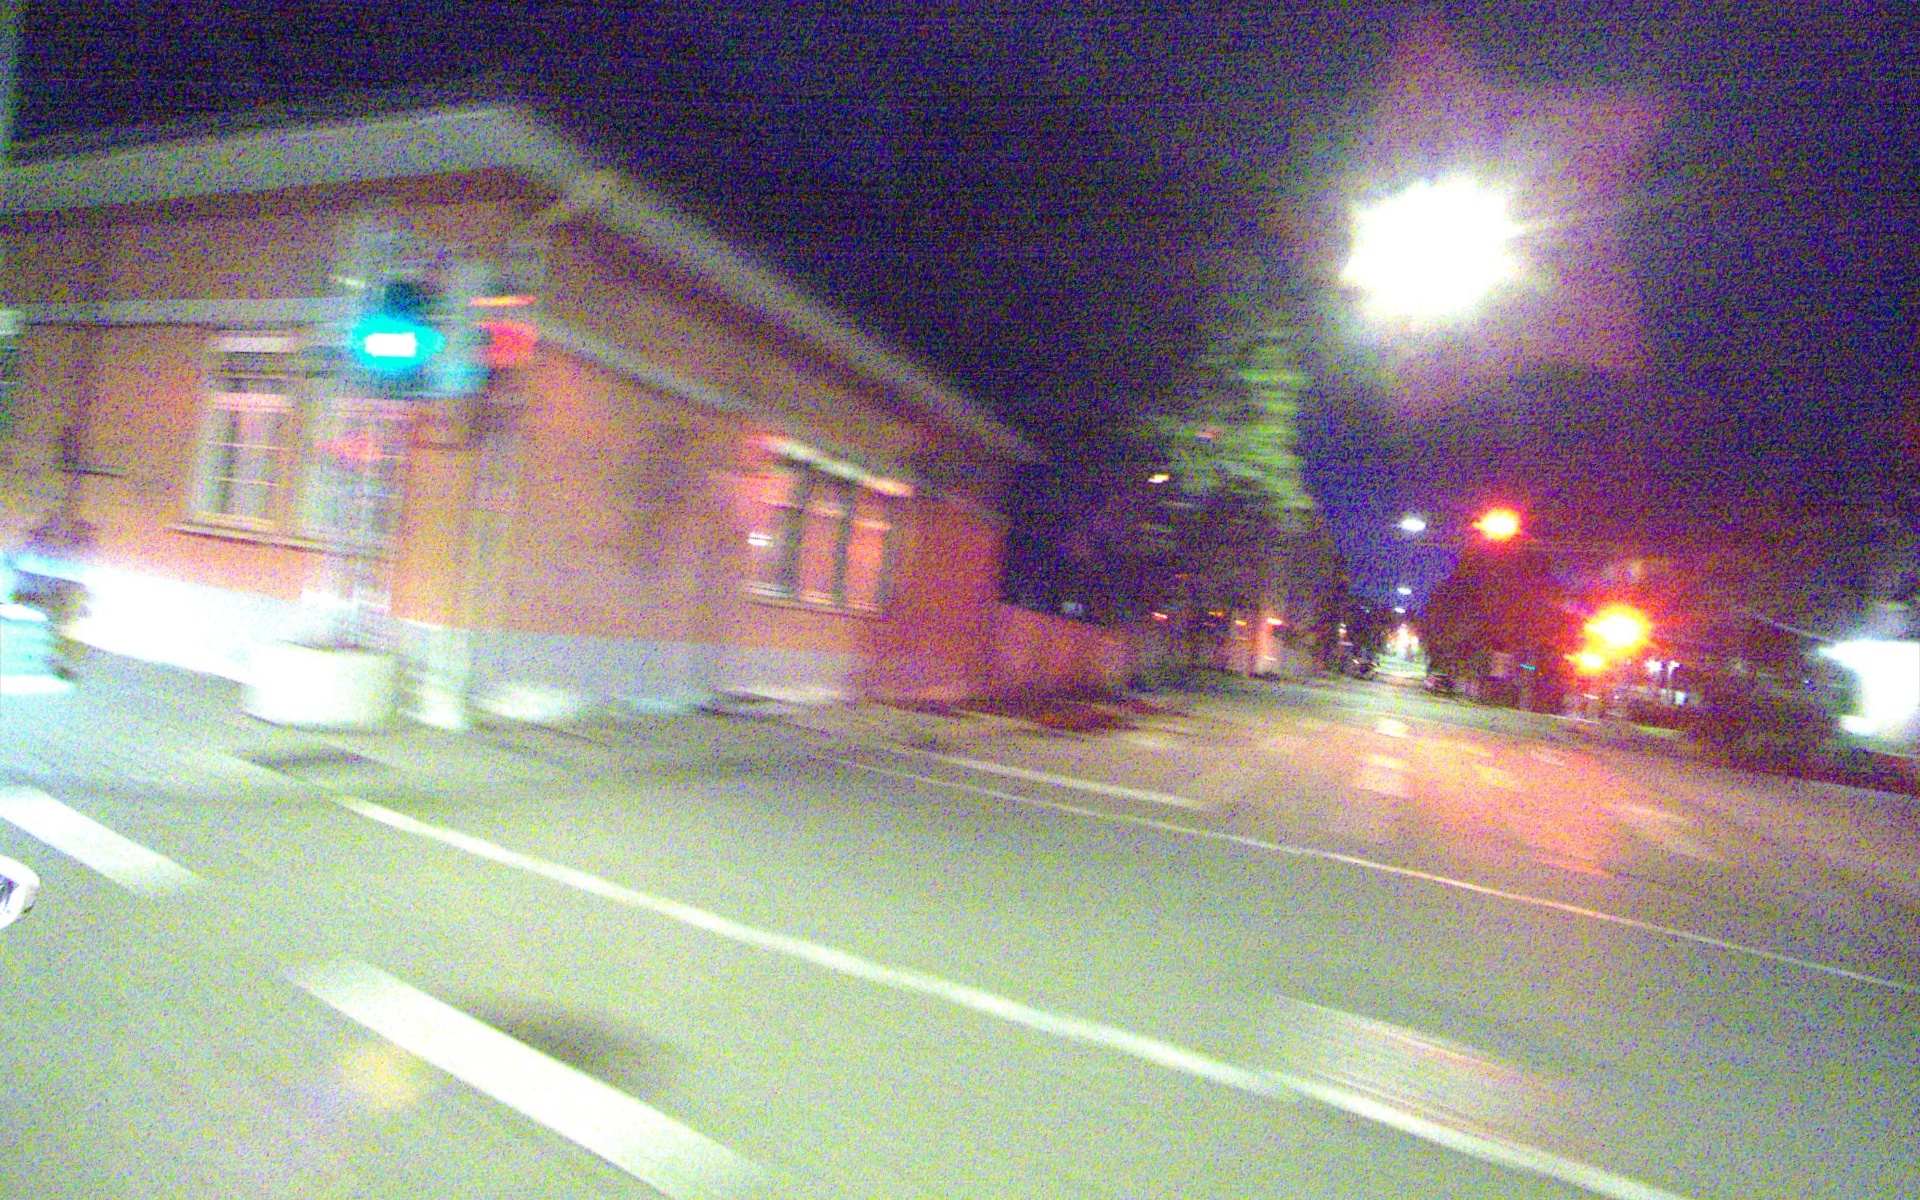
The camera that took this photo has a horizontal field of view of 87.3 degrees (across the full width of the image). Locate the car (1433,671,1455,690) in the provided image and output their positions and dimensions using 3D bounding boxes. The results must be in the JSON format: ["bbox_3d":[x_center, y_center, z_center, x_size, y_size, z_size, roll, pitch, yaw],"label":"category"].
[{"bbox_3d":[45.642,7.571,94.886,1.691,1.591,4.201,7,0,26],"label":"car"}]

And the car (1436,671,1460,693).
[{"bbox_3d":[42.136,7.086,86.926,1.691,1.591,4.201,7,0,26],"label":"car"}]

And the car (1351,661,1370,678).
[{"bbox_3d":[43.600,7.555,109.601,1.690,1.591,4.203,7,0,22],"label":"car"}]
